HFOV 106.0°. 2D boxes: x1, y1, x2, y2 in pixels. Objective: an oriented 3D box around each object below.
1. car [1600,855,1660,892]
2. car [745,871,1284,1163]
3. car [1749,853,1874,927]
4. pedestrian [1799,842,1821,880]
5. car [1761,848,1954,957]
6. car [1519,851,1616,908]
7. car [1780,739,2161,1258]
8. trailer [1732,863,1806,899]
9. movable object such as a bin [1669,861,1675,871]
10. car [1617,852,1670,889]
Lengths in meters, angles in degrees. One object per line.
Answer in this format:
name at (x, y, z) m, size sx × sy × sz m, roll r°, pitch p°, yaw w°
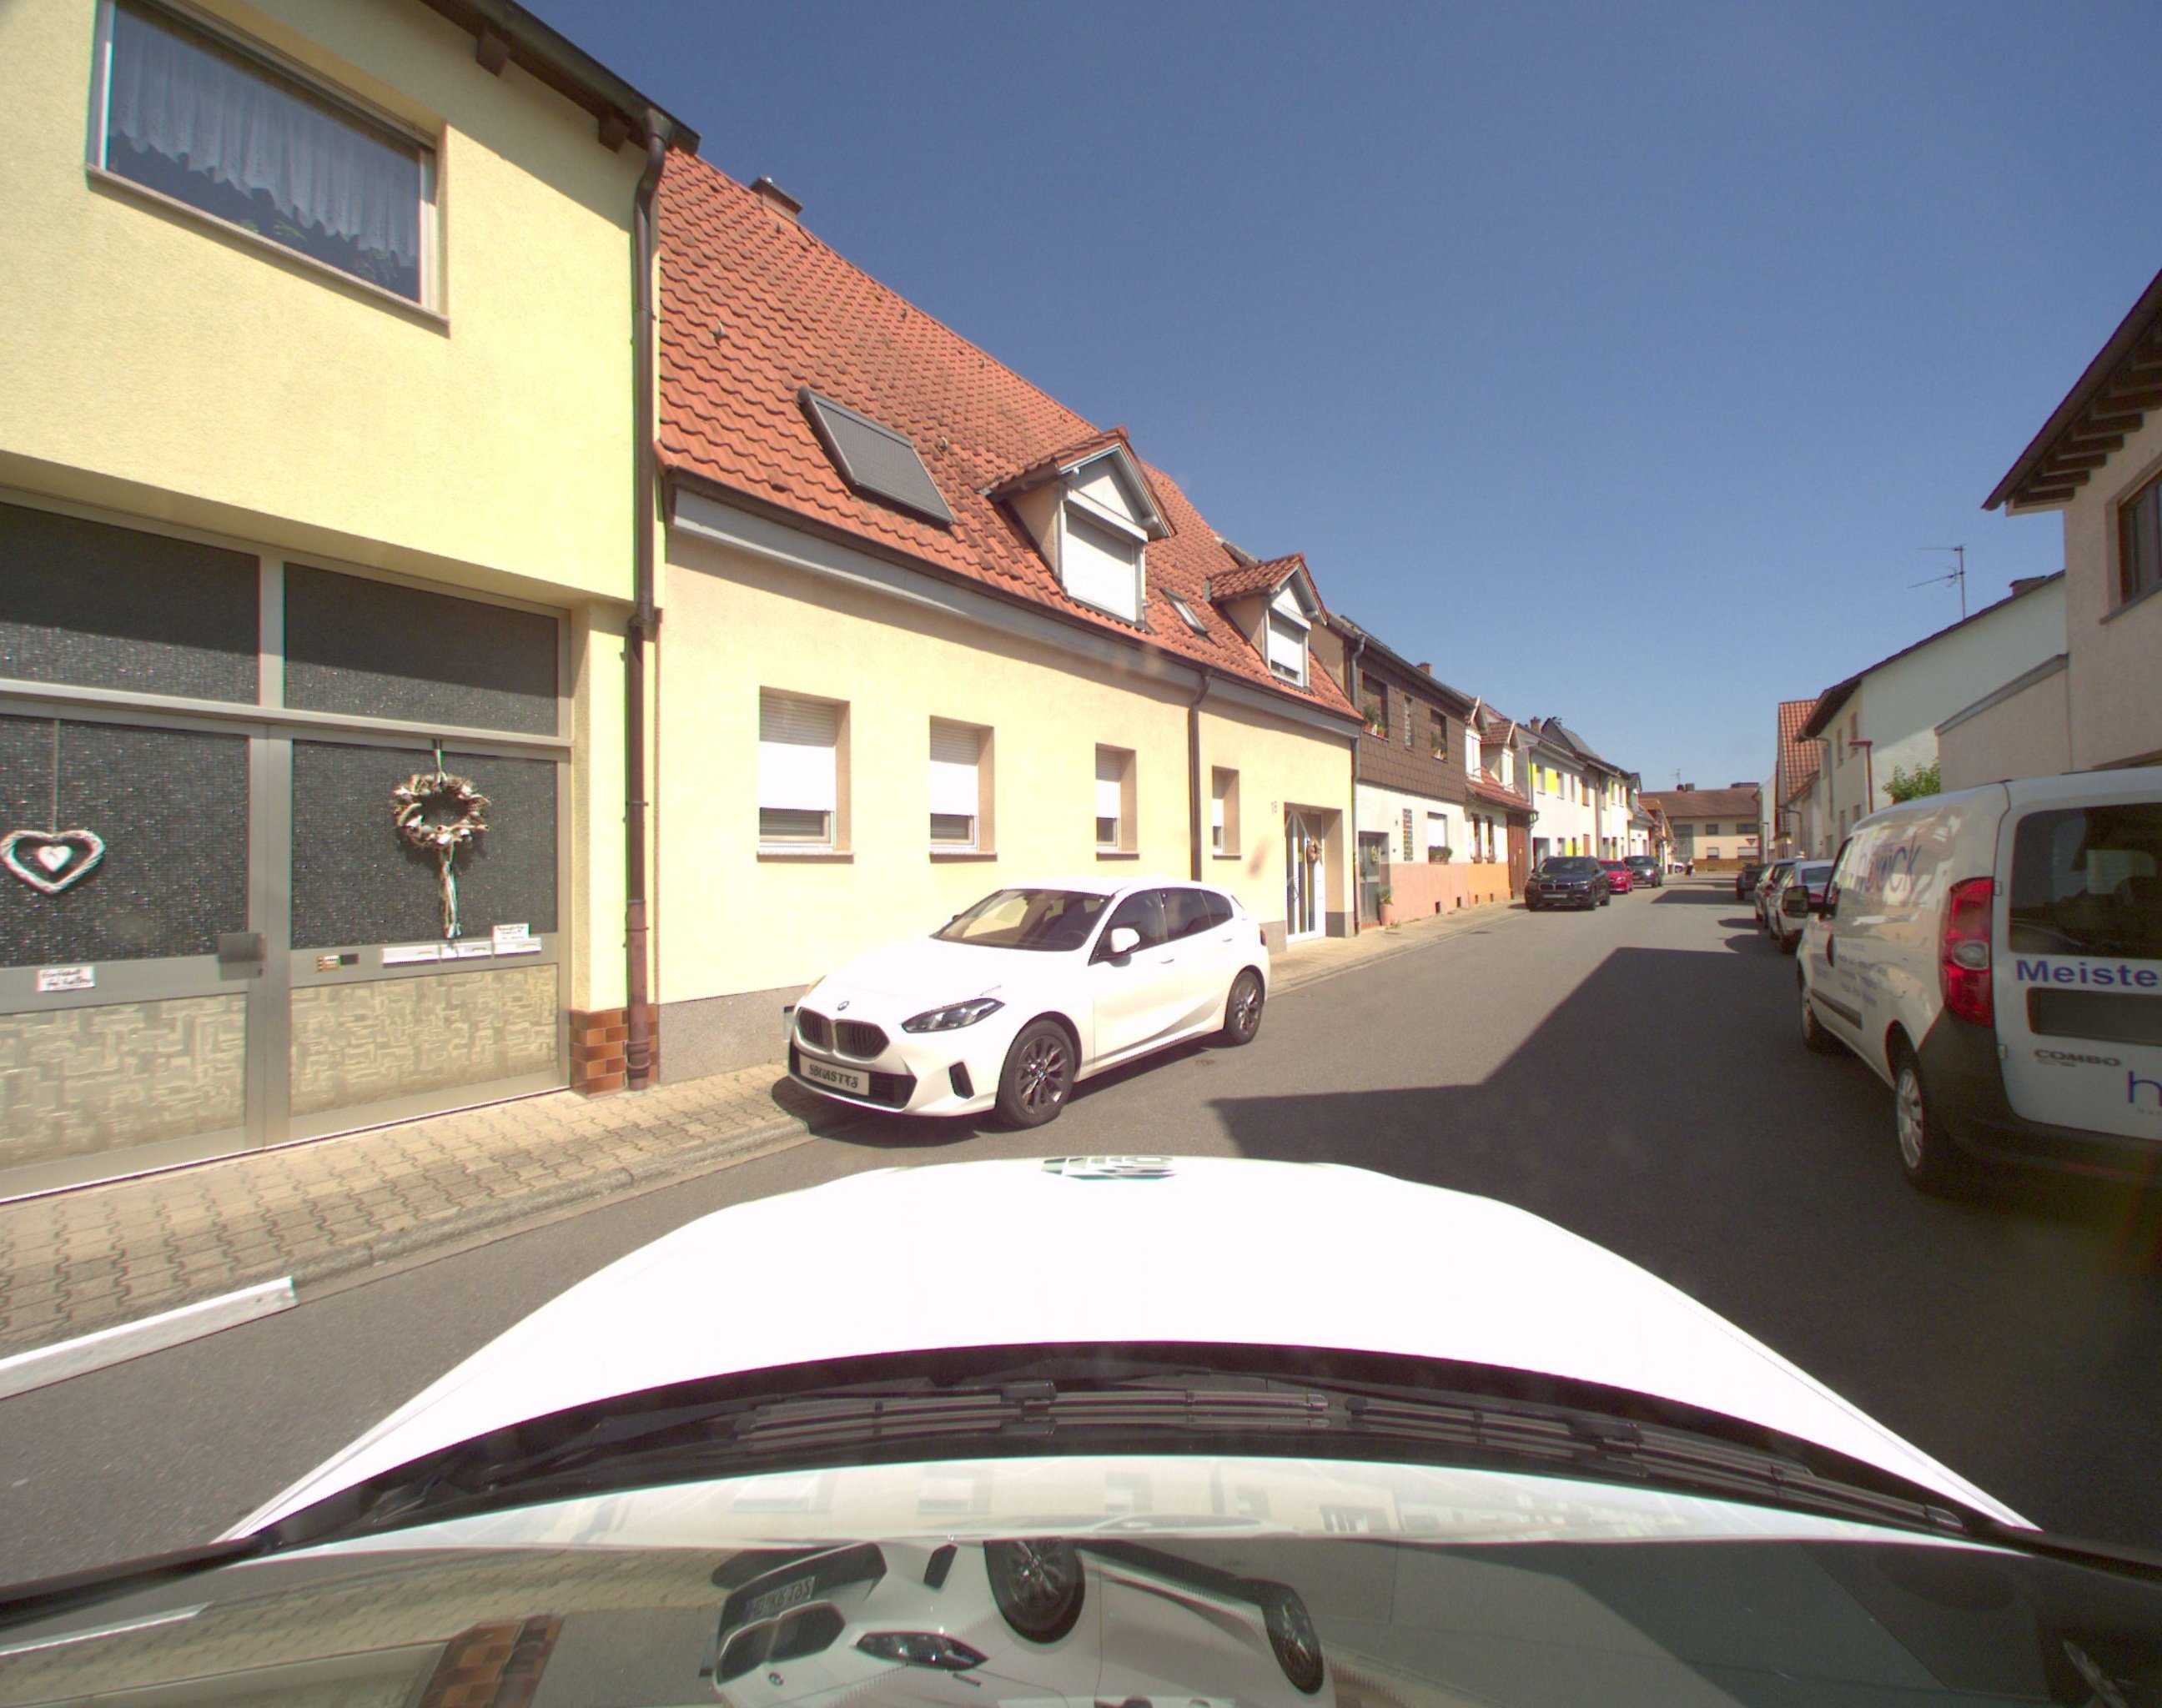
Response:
car at (23.220, 0.824, 34.383) m, size 1.782 × 1.441 × 4.515 m, roll -2°, pitch -2°, yaw 37°
car at (-0.172, 0.902, 6.410) m, size 1.765 × 1.454 × 4.242 m, roll -3°, pitch -2°, yaw 39°
car at (15.836, 0.737, 17.840) m, size 1.633 × 1.436 × 4.160 m, roll -2°, pitch -2°, yaw 37°
pedestrian at (30.284, 0.302, 33.821) m, size 0.589 × 1.565 × 0.560 m, roll -2°, pitch -5°, yaw 37°
car at (12.685, 0.727, 13.615) m, size 1.773 × 1.482 × 4.964 m, roll -4°, pitch -3°, yaw 38°
car at (14.957, 0.752, 24.921) m, size 1.782 × 1.574 × 4.643 m, roll -3°, pitch -2°, yaw 40°
car at (5.460, 0.527, 4.676) m, size 1.792 × 1.824 × 4.881 m, roll 0°, pitch 0°, yaw 36°
trailer at (23.314, 0.896, 27.652) m, size 1.800 × 1.090 × 3.503 m, roll -2°, pitch -1°, yaw 40°
movable object such as a bin at (54.257, 1.137, 74.783) m, size 0.444 × 0.921 × 0.407 m, roll -2°, pitch -2°, yaw 37°
car at (28.069, 0.808, 40.575) m, size 1.782 × 1.704 × 4.515 m, roll -4°, pitch -3°, yaw 39°
